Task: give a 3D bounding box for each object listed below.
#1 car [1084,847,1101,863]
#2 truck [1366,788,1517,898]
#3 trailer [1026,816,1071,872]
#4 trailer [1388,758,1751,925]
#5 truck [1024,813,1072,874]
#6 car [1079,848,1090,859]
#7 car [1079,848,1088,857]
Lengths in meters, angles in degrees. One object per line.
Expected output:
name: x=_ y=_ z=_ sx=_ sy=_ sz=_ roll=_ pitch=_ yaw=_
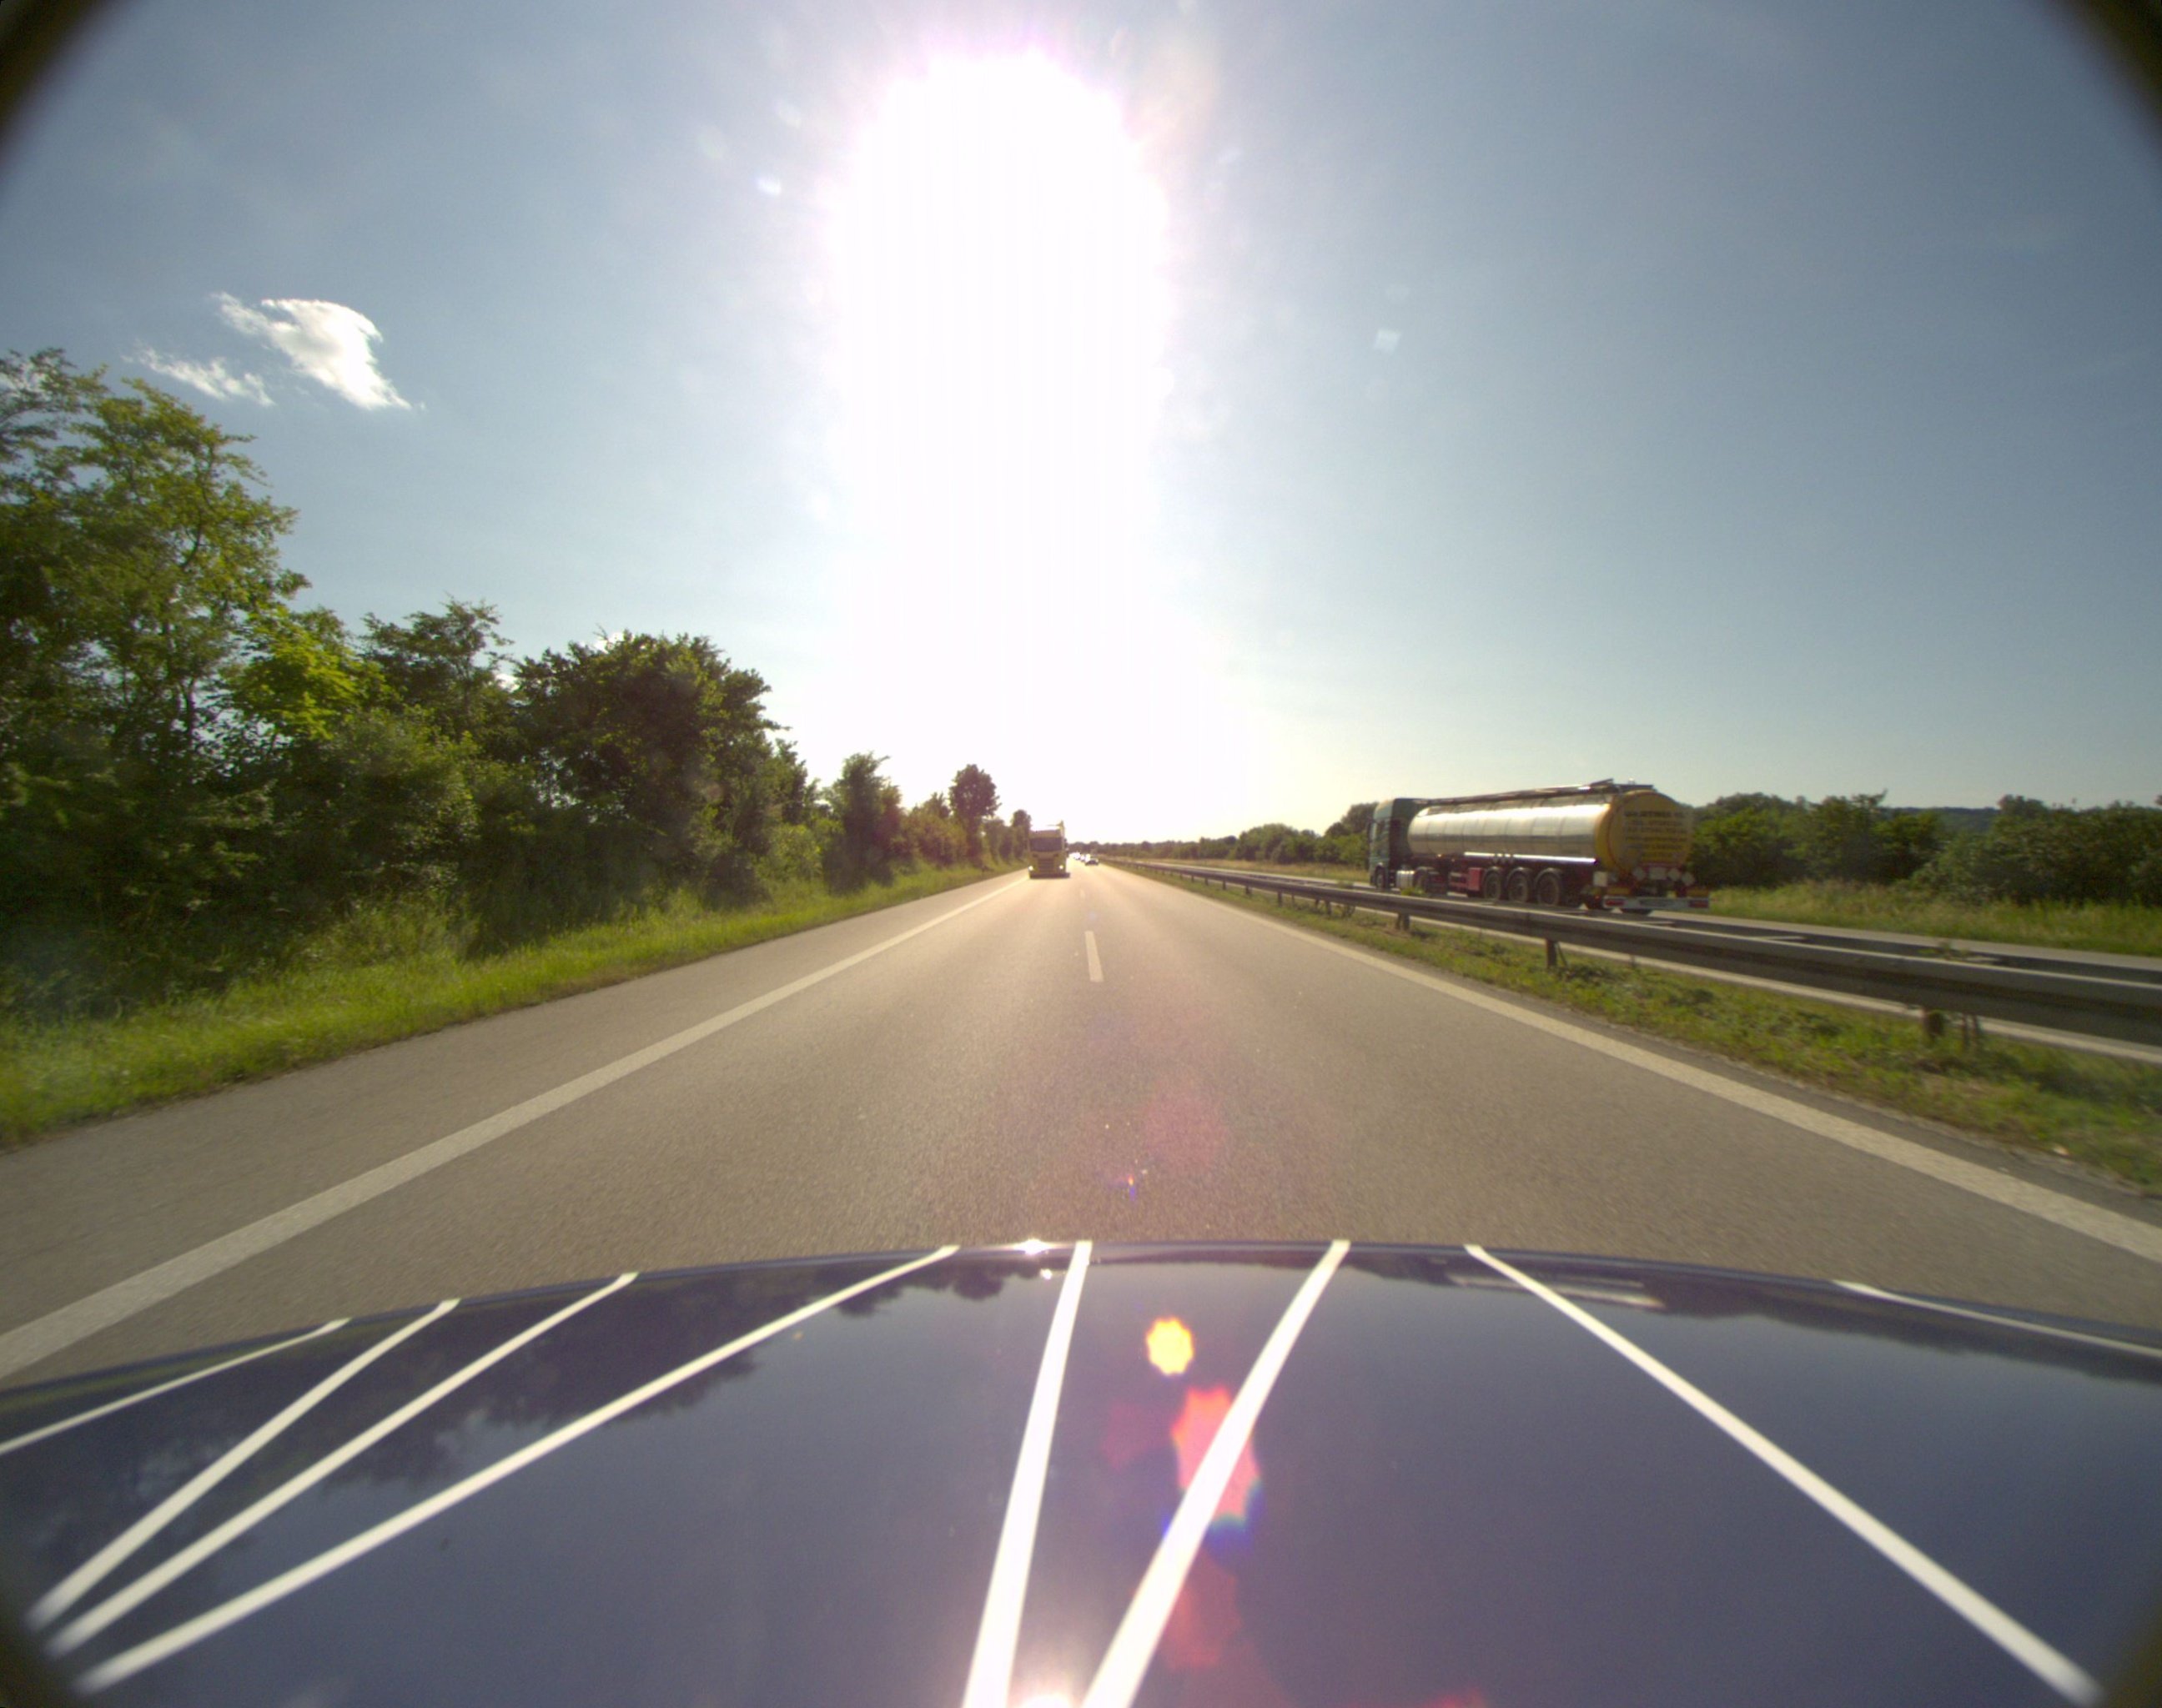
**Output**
car: x=1.541 y=0.076 z=99.977 sx=1.999 sy=2.002 sz=4.357 roll=-2 pitch=1 yaw=-1
truck: x=13.350 y=-0.400 z=28.718 sx=2.963 sy=3.710 sz=5.567 roll=0 pitch=1 yaw=-1
trailer: x=-2.515 y=-0.824 z=63.424 sx=3.193 sy=4.036 sz=13.183 roll=-2 pitch=1 yaw=-1
trailer: x=13.418 y=-0.344 z=23.186 sx=2.988 sy=3.709 sz=12.417 roll=0 pitch=1 yaw=0
truck: x=-2.405 y=-0.765 z=55.678 sx=3.177 sy=4.090 sz=6.386 roll=-2 pitch=1 yaw=-2
car: x=0.676 y=-0.110 z=142.264 sx=1.998 sy=2.002 sz=3.999 roll=-2 pitch=1 yaw=1
car: x=0.593 y=-0.447 z=186.193 sx=1.998 sy=2.002 sz=3.999 roll=-2 pitch=1 yaw=1
